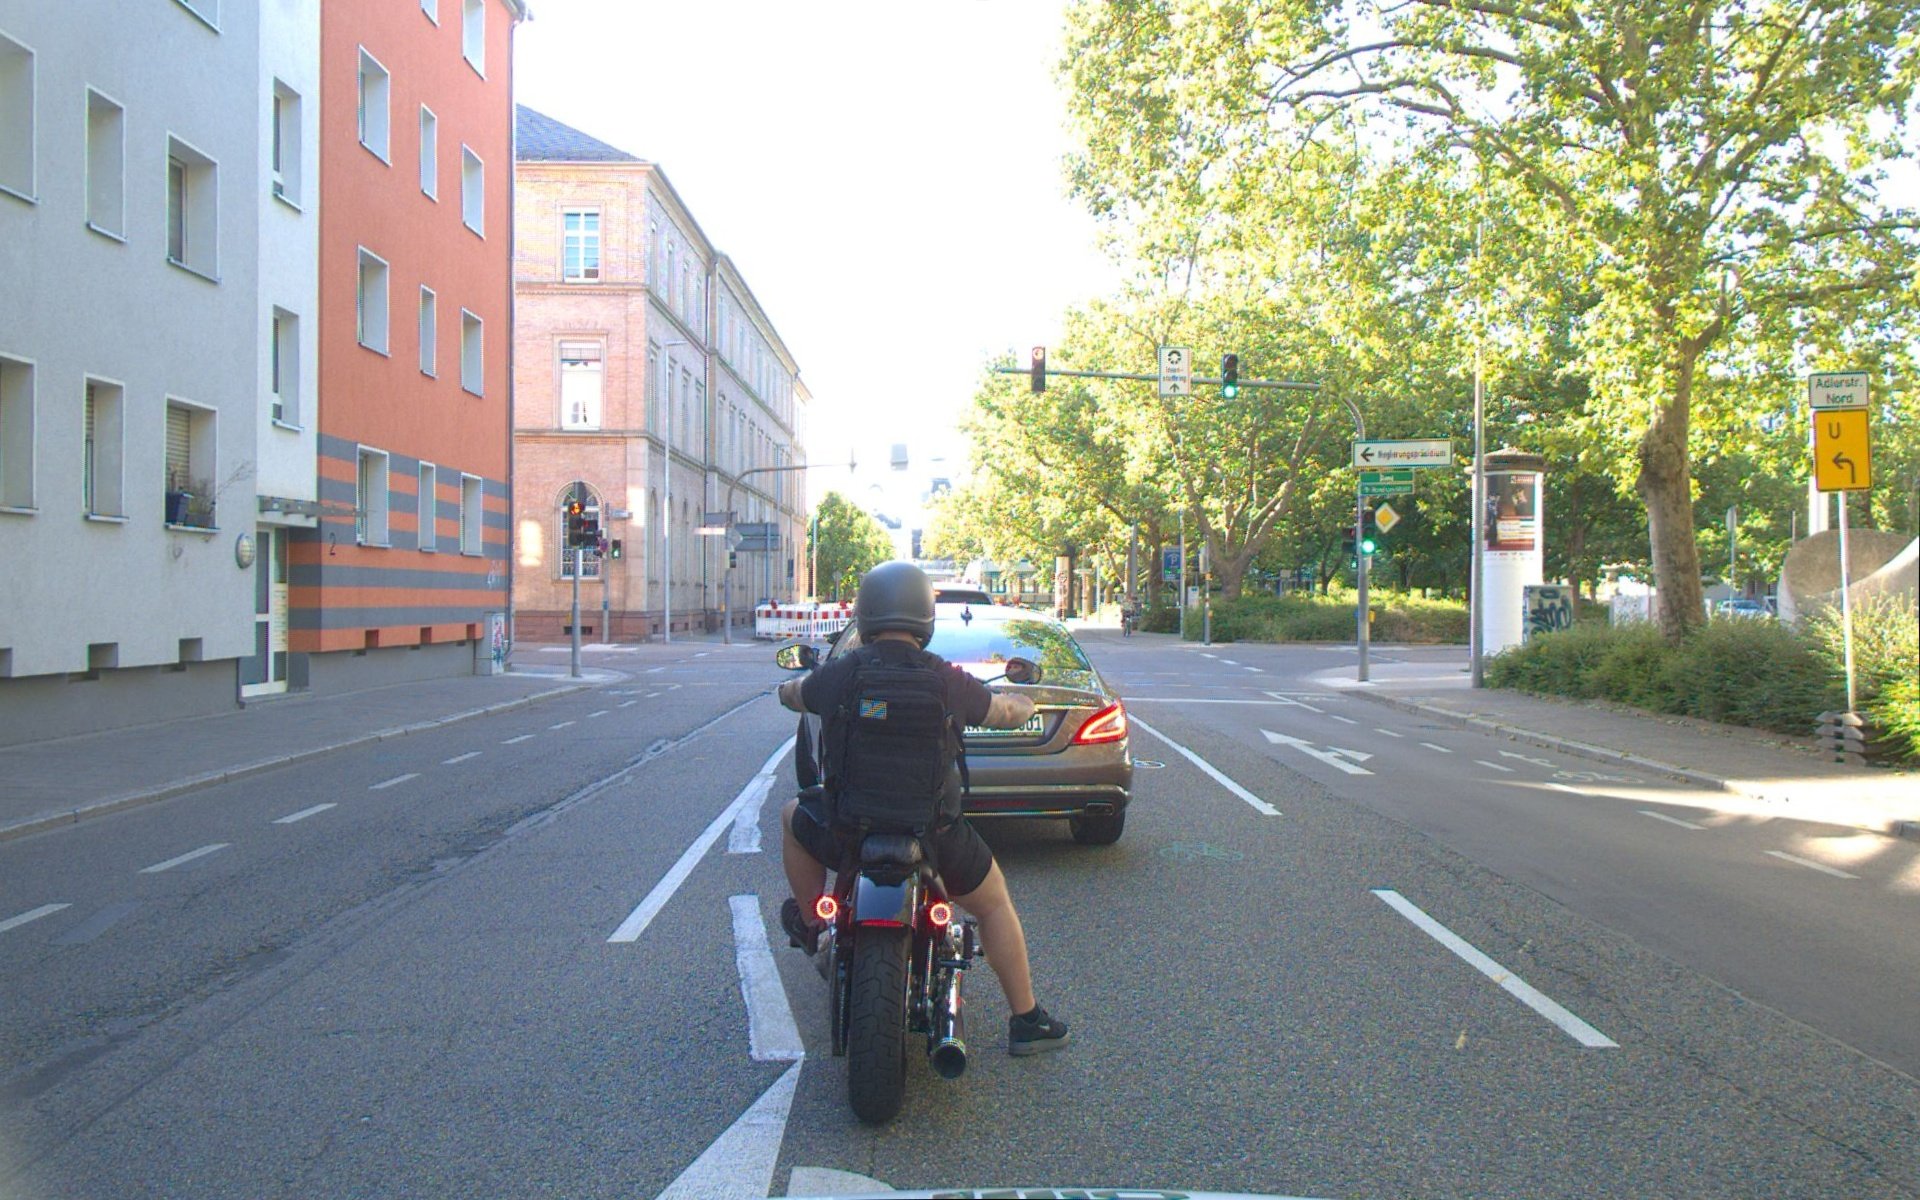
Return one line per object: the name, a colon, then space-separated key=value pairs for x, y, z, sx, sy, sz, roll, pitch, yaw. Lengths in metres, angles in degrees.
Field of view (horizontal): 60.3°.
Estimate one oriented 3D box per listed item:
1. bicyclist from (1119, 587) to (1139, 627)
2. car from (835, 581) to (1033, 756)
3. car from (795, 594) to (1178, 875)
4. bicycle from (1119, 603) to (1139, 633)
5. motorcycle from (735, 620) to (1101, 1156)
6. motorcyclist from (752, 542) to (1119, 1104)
bicyclist: x=6.813 y=0.284 z=66.658 sx=0.701 sy=1.610 sz=0.936 roll=1 pitch=0 yaw=2
car: x=-0.341 y=0.608 z=16.748 sx=1.777 sy=1.563 sz=3.846 roll=0 pitch=0 yaw=-3
car: x=-0.052 y=0.700 z=10.939 sx=1.867 sy=1.466 sz=4.280 roll=0 pitch=0 yaw=-9
bicycle: x=6.813 y=0.717 z=66.812 sx=0.701 sy=1.193 sz=2.177 roll=1 pitch=0 yaw=3
motorcycle: x=-0.126 y=0.774 z=5.517 sx=0.942 sy=1.380 sz=2.319 roll=1 pitch=0 yaw=-1
motorcyclist: x=-0.076 y=0.649 z=5.249 sx=1.039 sy=1.610 sz=0.908 roll=1 pitch=0 yaw=-1
